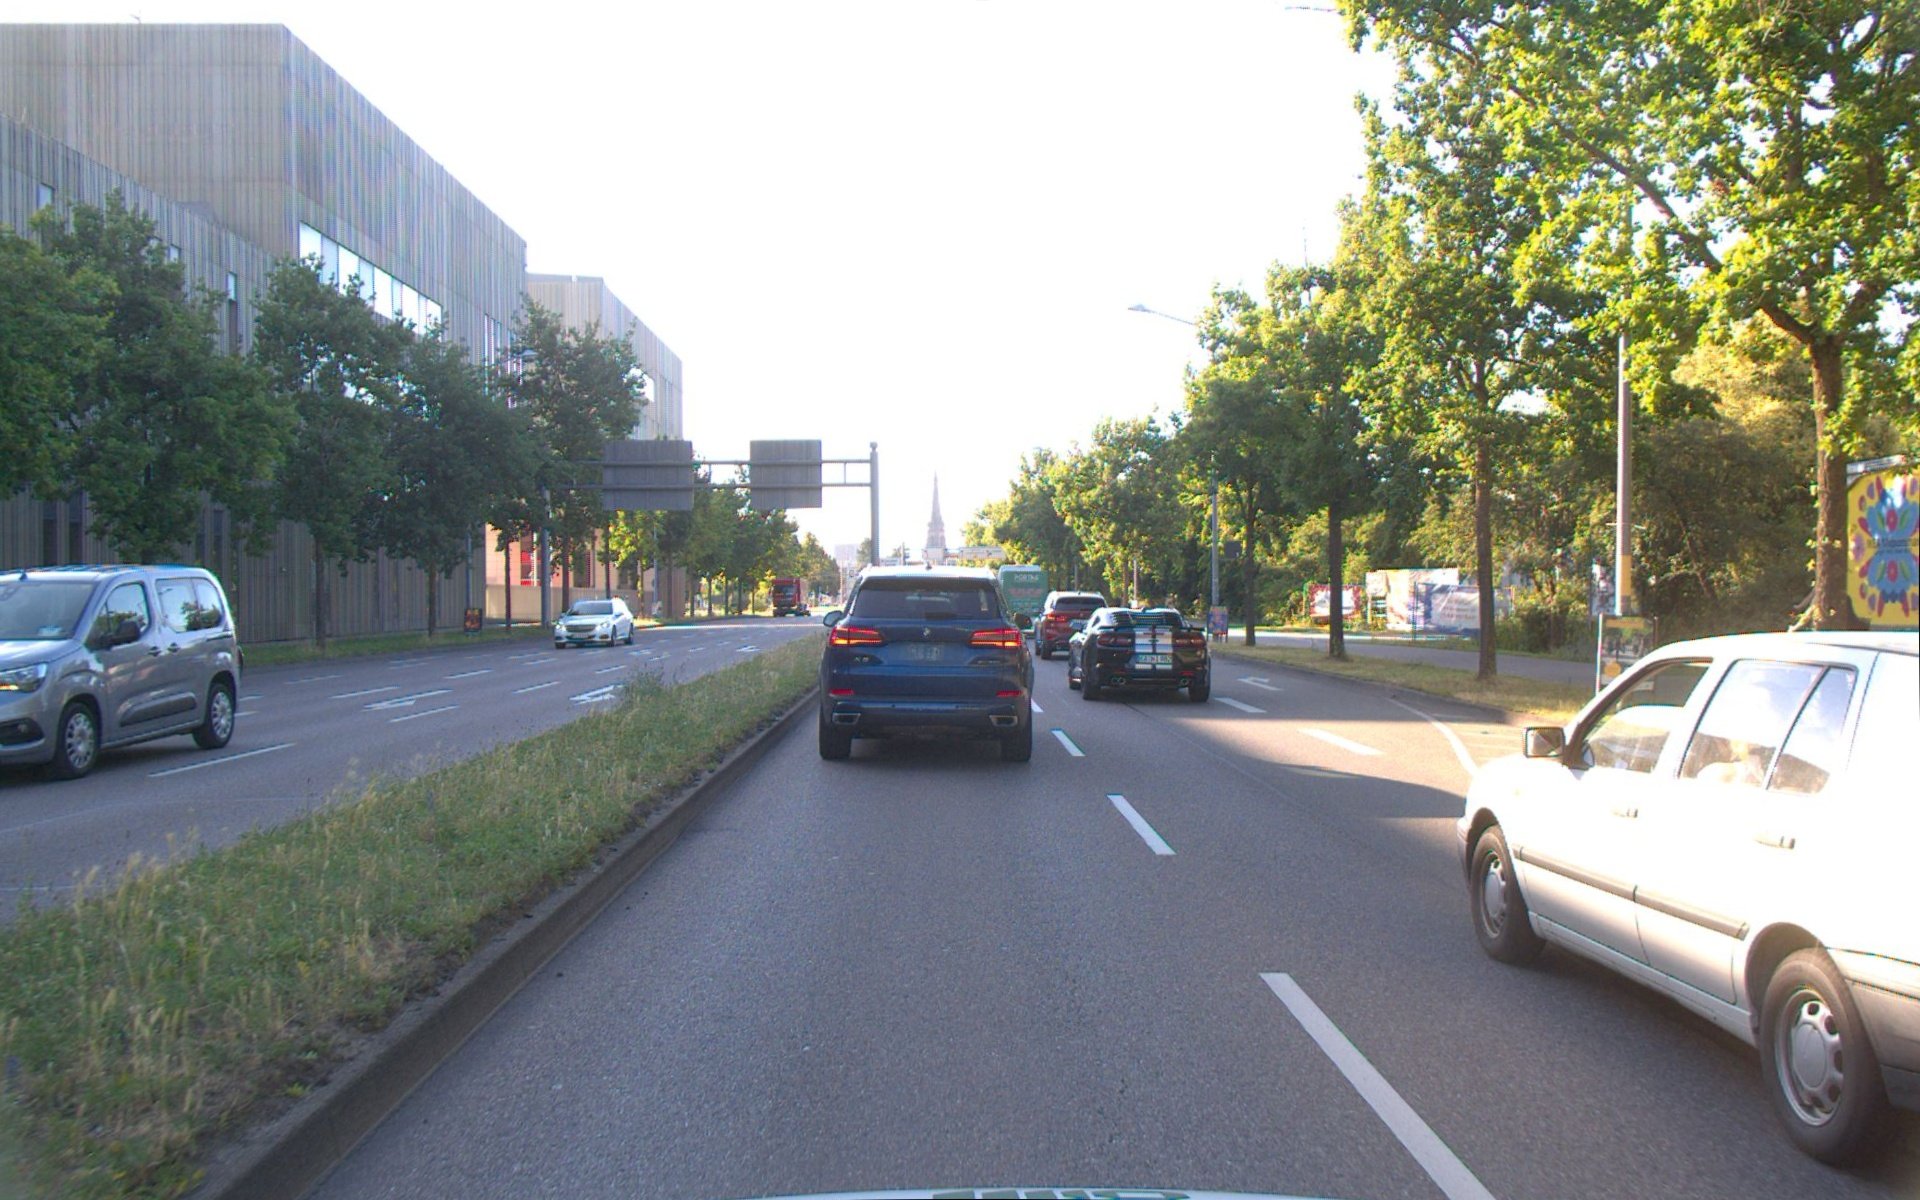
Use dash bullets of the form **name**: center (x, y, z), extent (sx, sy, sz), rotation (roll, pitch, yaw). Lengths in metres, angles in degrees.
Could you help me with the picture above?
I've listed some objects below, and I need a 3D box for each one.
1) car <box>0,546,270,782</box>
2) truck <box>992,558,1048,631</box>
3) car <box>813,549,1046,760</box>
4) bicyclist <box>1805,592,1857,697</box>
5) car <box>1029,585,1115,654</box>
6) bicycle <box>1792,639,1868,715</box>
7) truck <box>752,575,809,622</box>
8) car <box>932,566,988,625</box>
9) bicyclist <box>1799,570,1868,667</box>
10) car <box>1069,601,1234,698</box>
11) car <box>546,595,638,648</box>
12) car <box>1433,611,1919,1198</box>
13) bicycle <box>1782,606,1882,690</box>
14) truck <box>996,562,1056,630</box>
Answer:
- **car**: center (-8.075, 0.581, 15.052), extent (1.721, 1.808, 4.492), rotation (-4, -1, -2)
- **truck**: center (2.298, -0.162, 64.472), extent (1.955, 2.715, 3.999), rotation (1, -1, -1)
- **car**: center (-0.289, 0.501, 16.309), extent (1.953, 1.764, 4.531), rotation (1, -1, -1)
- **bicyclist**: center (11.177, 0.568, 21.223), extent (0.419, 1.332, 0.460), rotation (1, -1, -1)
- **car**: center (2.703, 0.492, 40.509), extent (1.760, 1.586, 3.999), rotation (1, -1, -1)
- **bicycle**: center (11.164, 0.980, 21.253), extent (0.428, 0.930, 1.026), rotation (1, -1, -1)
- **truck**: center (-16.655, -0.053, 154.369), extent (3.907, 4.160, 11.448), rotation (1, -1, 1)
- **car**: center (-0.040, -0.160, 78.042), extent (2.095, 2.621, 5.080), rotation (1, -1, -6)
- **bicyclist**: center (12.392, 0.262, 23.484), extent (0.532, 1.339, 0.835), rotation (1, -1, -1)
- **car**: center (2.780, 0.722, 24.902), extent (1.953, 1.317, 3.999), rotation (1, -1, -1)
- **car**: center (-11.716, 0.706, 52.907), extent (1.954, 1.477, 4.712), rotation (-4, -1, -2)
- **car**: center (3.084, 0.789, 5.861), extent (1.547, 1.438, 4.060), rotation (1, -1, -2)
- **bicycle**: center (12.371, 0.674, 23.515), extent (0.553, 1.132, 1.621), rotation (1, -1, -1)
- **truck**: center (2.348, -0.096, 59.780), extent (1.955, 2.356, 3.999), rotation (1, -1, -1)
